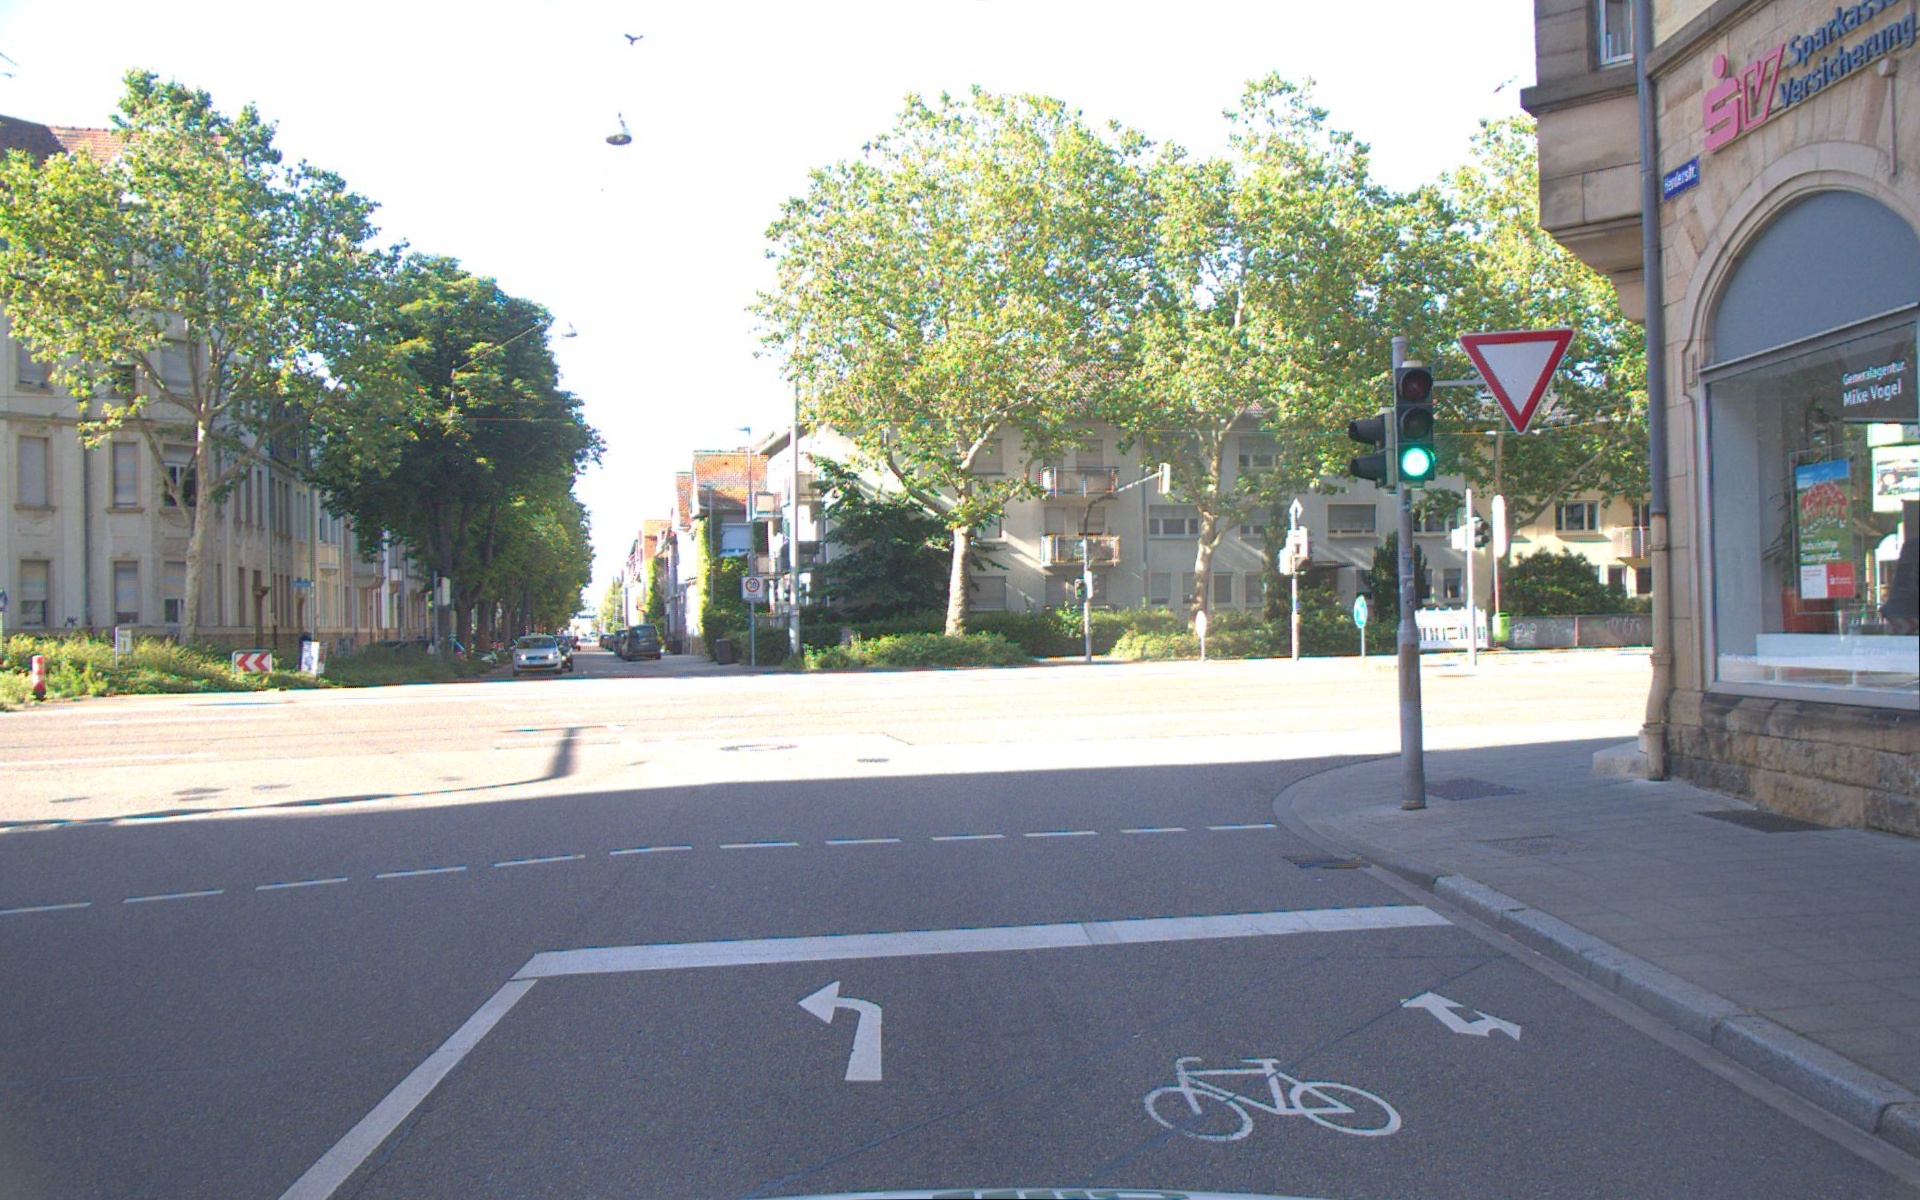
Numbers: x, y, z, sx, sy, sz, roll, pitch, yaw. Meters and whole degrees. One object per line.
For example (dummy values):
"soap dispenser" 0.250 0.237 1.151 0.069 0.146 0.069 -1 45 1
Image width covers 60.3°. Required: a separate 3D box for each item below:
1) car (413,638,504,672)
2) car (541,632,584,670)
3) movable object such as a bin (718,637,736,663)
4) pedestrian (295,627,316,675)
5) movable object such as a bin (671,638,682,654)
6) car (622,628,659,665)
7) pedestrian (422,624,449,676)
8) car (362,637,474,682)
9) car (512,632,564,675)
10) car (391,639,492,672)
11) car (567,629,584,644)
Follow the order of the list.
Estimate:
"car" -23.611 2.580 77.957 3.917 1.508 1.780 0 -2 -12
"car" -16.439 2.095 68.546 1.632 1.490 3.796 -1 -1 -12
"movable object such as a bin" -10.102 2.159 71.747 0.587 1.062 0.704 -5 0 -16
"pedestrian" -23.672 1.836 59.787 0.451 1.687 0.893 -1 -1 -5
"movable object such as a bin" -19.658 3.187 114.839 0.637 1.058 0.824 -2 -1 -16
"car" -18.176 2.623 94.044 1.833 1.950 4.766 3 -2 -13
"pedestrian" -17.510 1.673 55.244 0.680 1.711 0.680 -1 -1 -3
"car" -20.391 2.225 62.337 3.817 1.501 1.609 -2 -1 -14
"car" -15.609 1.991 61.316 1.776 1.484 3.985 -1 -2 -14
"car" -22.898 2.451 73.133 4.140 1.372 1.697 -1 -2 -14
"car" -39.597 3.758 170.274 1.613 1.535 3.689 -2 -1 -14
